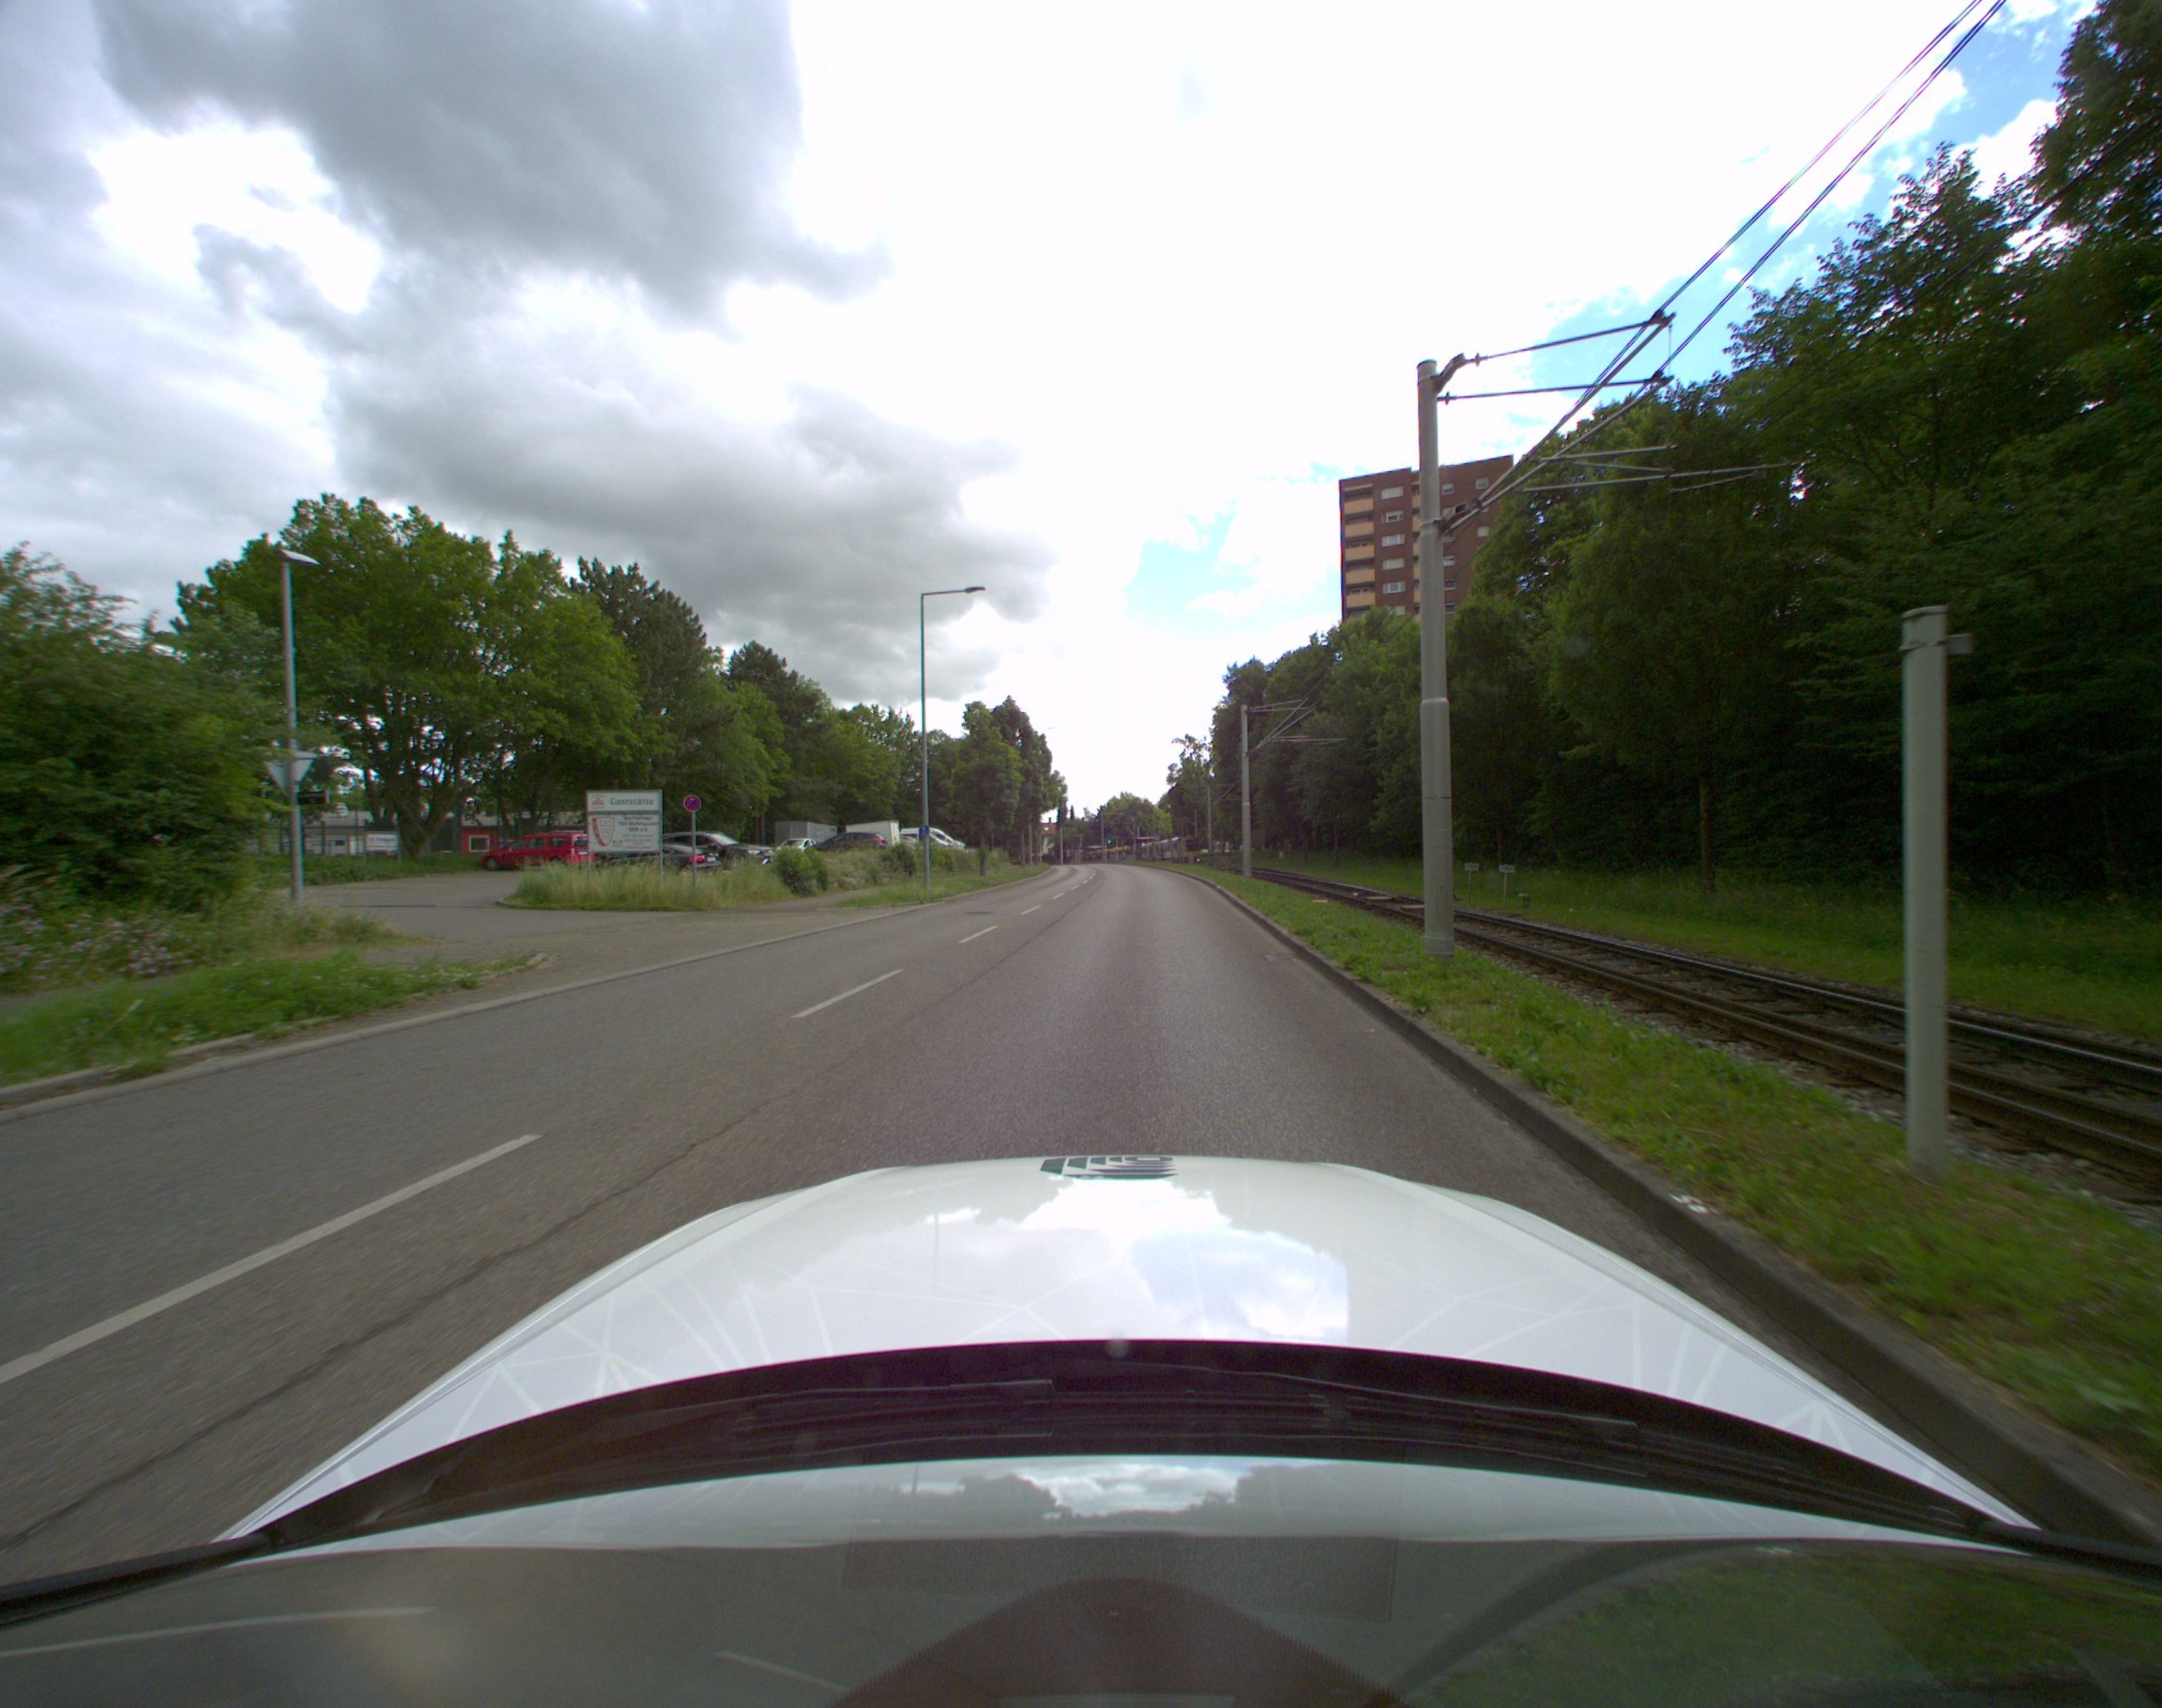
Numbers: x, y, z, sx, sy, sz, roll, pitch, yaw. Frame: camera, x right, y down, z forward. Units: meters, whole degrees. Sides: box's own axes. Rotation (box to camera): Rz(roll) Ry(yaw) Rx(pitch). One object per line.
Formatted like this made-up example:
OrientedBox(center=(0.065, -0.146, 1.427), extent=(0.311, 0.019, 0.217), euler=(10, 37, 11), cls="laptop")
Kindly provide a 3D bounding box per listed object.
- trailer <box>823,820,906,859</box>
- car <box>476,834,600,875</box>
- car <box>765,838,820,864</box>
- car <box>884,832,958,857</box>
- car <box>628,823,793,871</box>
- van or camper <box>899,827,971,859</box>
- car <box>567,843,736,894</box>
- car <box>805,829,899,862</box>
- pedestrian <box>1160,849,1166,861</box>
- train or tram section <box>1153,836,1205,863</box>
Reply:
OrientedBox(center=(-11.979, -0.798, 45.163), extent=(3.968, 2.013, 1.911), euler=(-1, 1, 4), cls="trailer")
OrientedBox(center=(-23.557, 0.006, 35.461), extent=(3.978, 1.662, 1.998), euler=(-1, 0, -3), cls="car")
OrientedBox(center=(-17.842, -0.201, 50.534), extent=(1.878, 1.585, 3.668), euler=(-1, 1, 4), cls="car")
OrientedBox(center=(-11.206, -0.675, 57.047), extent=(4.615, 1.656, 2.005), euler=(-1, 0, 9), cls="car")
OrientedBox(center=(-13.345, -0.254, 29.575), extent=(4.908, 1.585, 2.208), euler=(-1, 0, 1), cls="car")
OrientedBox(center=(-10.629, -0.785, 59.566), extent=(4.873, 2.202, 2.001), euler=(-1, 1, 1), cls="van or camper")
OrientedBox(center=(-12.822, 0.398, 24.518), extent=(3.942, 1.397, 2.000), euler=(-1, 1, -1), cls="car")
OrientedBox(center=(-11.771, -0.443, 42.109), extent=(4.300, 1.448, 1.835), euler=(-3, 1, -2), cls="car")
OrientedBox(center=(9.564, 0.108, 94.785), extent=(0.566, 1.464, 0.595), euler=(-1, 0, -3), cls="pedestrian")
OrientedBox(center=(13.709, -0.699, 118.531), extent=(2.999, 3.310, 34.697), euler=(-1, 0, -1), cls="train or tram section")
